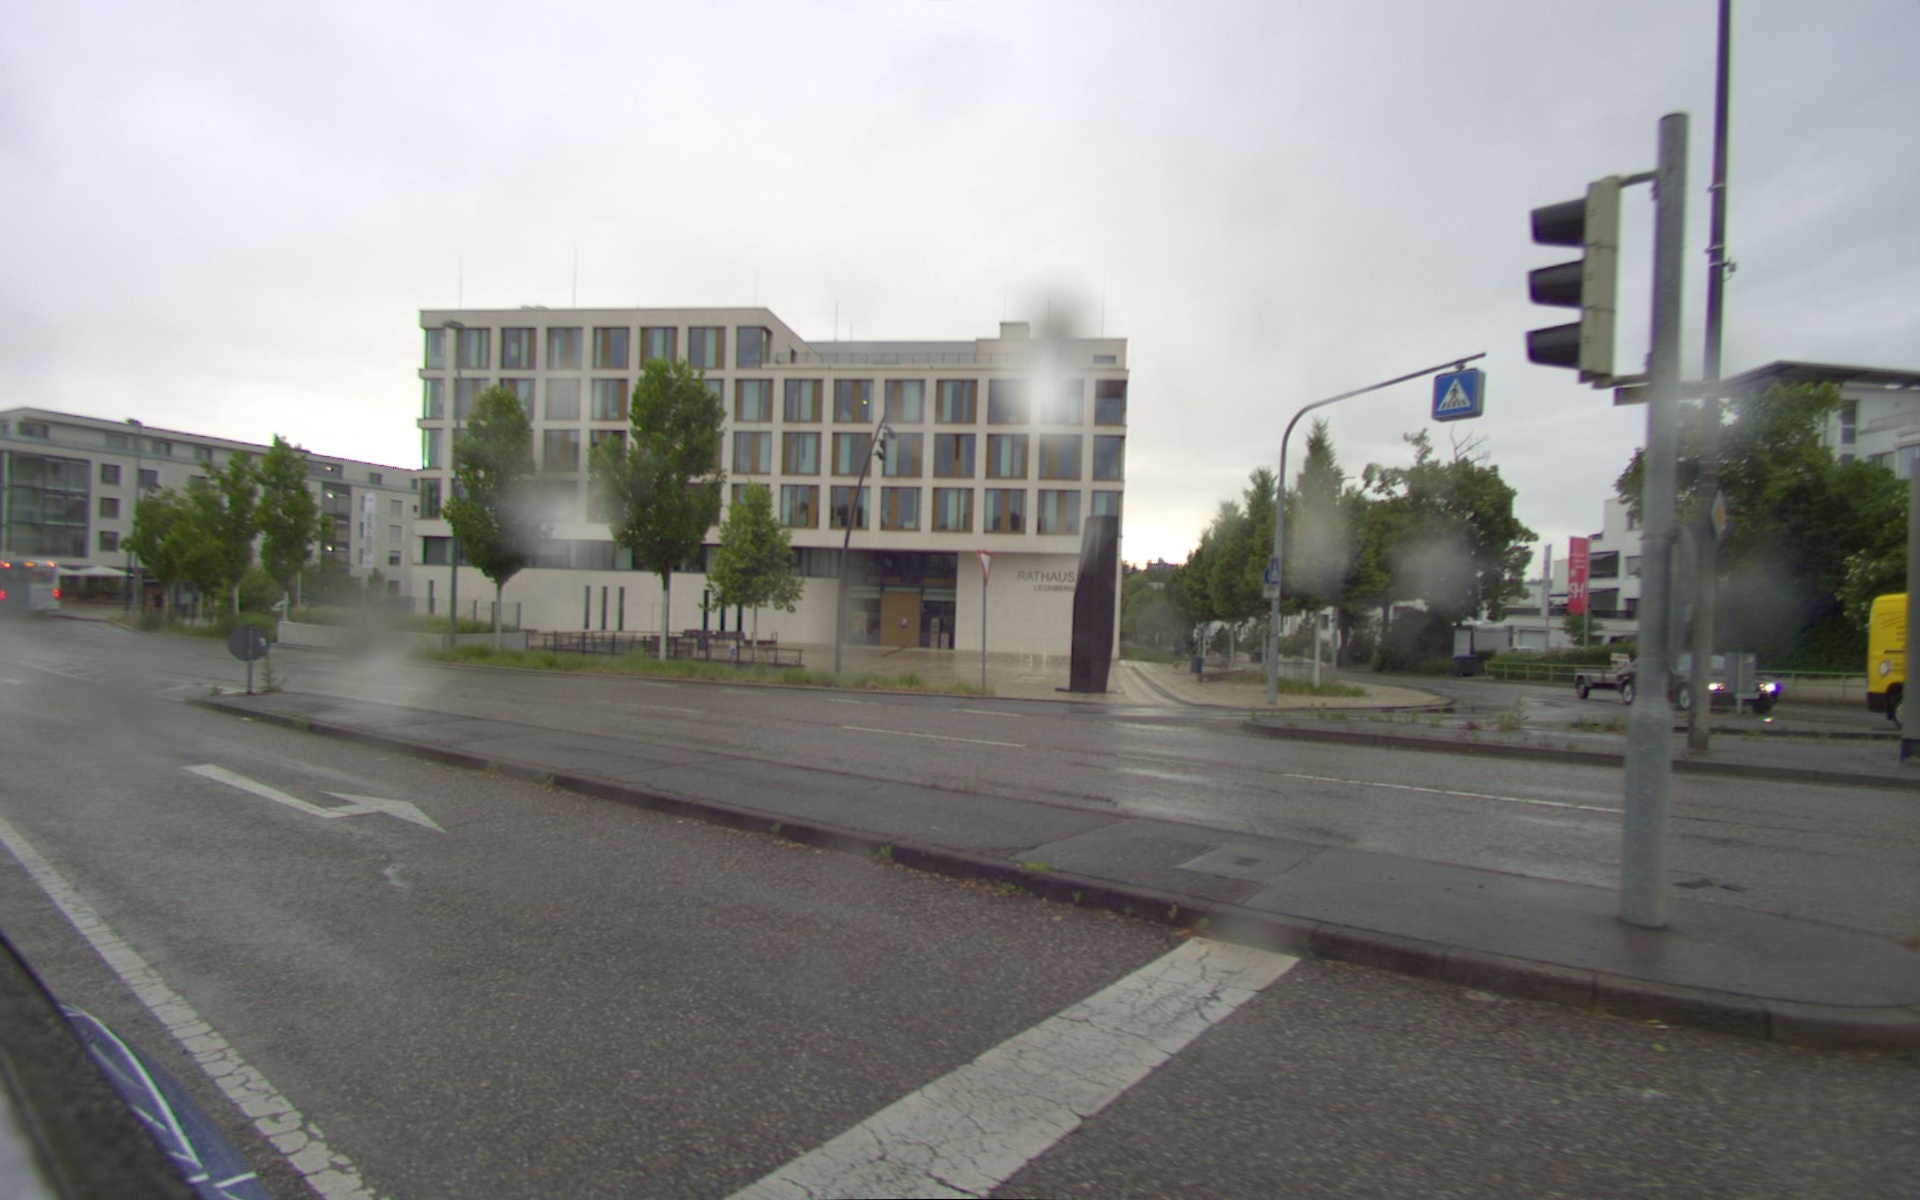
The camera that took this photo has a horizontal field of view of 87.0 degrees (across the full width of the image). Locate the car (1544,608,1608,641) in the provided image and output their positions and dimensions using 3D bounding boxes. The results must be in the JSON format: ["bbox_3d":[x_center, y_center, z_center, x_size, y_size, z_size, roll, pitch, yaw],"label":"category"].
[{"bbox_3d":[40.546,1.577,66.677,1.766,2.029,3.999,0,0,0],"label":"car"}]

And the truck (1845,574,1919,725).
[{"bbox_3d":[17.263,0.805,15.727,2.202,2.557,6.160,1,-2,8],"label":"truck"}]

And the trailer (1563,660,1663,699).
[{"bbox_3d":[18.871,2.280,29.350,1.589,0.986,2.281,1,-2,8],"label":"trailer"}]

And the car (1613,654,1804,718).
[{"bbox_3d":[18.113,2.025,24.774,1.843,1.328,4.345,1,-2,7],"label":"car"}]

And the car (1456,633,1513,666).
[{"bbox_3d":[35.475,3.330,68.541,1.766,2.029,3.999,0,0,0],"label":"car"}]

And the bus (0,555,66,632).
[{"bbox_3d":[-57.212,-0.319,59.357,18.187,4.025,2.918,0,-2,35],"label":"bus"}]
